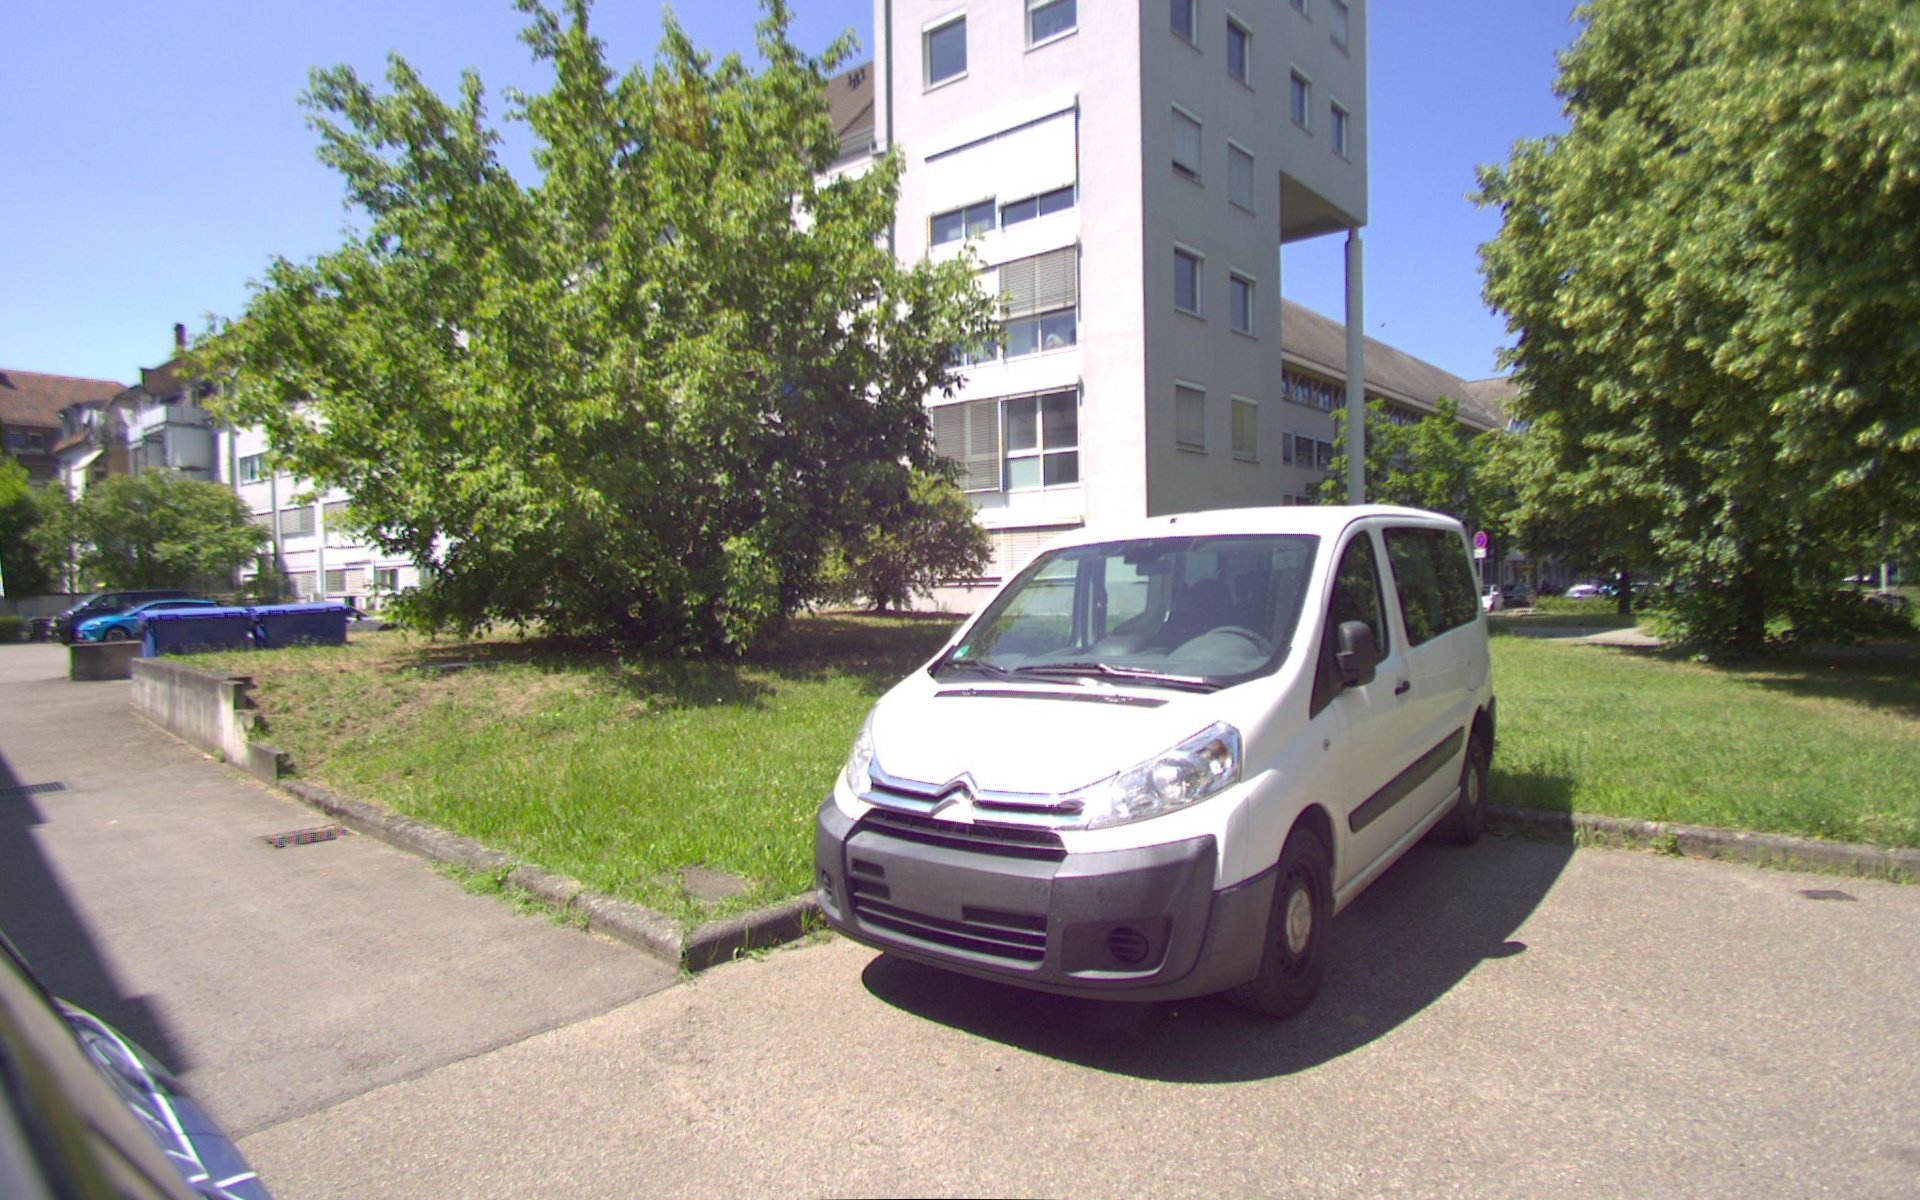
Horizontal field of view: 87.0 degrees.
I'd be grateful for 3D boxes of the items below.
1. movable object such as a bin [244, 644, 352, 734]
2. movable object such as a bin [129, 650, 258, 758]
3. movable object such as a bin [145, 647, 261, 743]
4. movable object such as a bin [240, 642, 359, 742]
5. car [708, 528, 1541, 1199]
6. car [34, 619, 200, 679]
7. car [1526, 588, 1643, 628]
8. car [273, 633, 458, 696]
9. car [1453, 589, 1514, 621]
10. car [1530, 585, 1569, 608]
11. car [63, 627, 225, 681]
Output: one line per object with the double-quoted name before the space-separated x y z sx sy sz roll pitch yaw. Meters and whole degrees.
"movable object such as a bin" -11.008 1.438 16.830 1.104 1.337 1.241 -2 1 43
"movable object such as a bin" -10.837 1.429 14.311 1.104 1.337 1.241 -2 1 43
"movable object such as a bin" -11.849 1.448 15.843 1.104 1.337 1.241 -2 1 43
"movable object such as a bin" -9.969 1.347 15.285 1.104 1.337 1.241 -2 1 43
"car" 1.328 0.807 5.061 1.997 1.926 4.743 -5 -2 38
"car" -30.976 1.729 37.287 1.998 1.845 4.393 -1 1 40
"car" 27.577 0.353 44.727 4.168 1.630 1.950 -1 1 40
"car" -15.937 1.675 27.291 1.709 1.447 3.948 -2 0 39
"car" 28.827 0.276 55.665 1.976 1.630 4.113 -1 1 42
"car" 43.789 -0.254 75.153 1.974 1.630 4.118 -1 1 38
"car" -28.739 1.854 35.733 1.857 1.565 4.117 -2 0 38
